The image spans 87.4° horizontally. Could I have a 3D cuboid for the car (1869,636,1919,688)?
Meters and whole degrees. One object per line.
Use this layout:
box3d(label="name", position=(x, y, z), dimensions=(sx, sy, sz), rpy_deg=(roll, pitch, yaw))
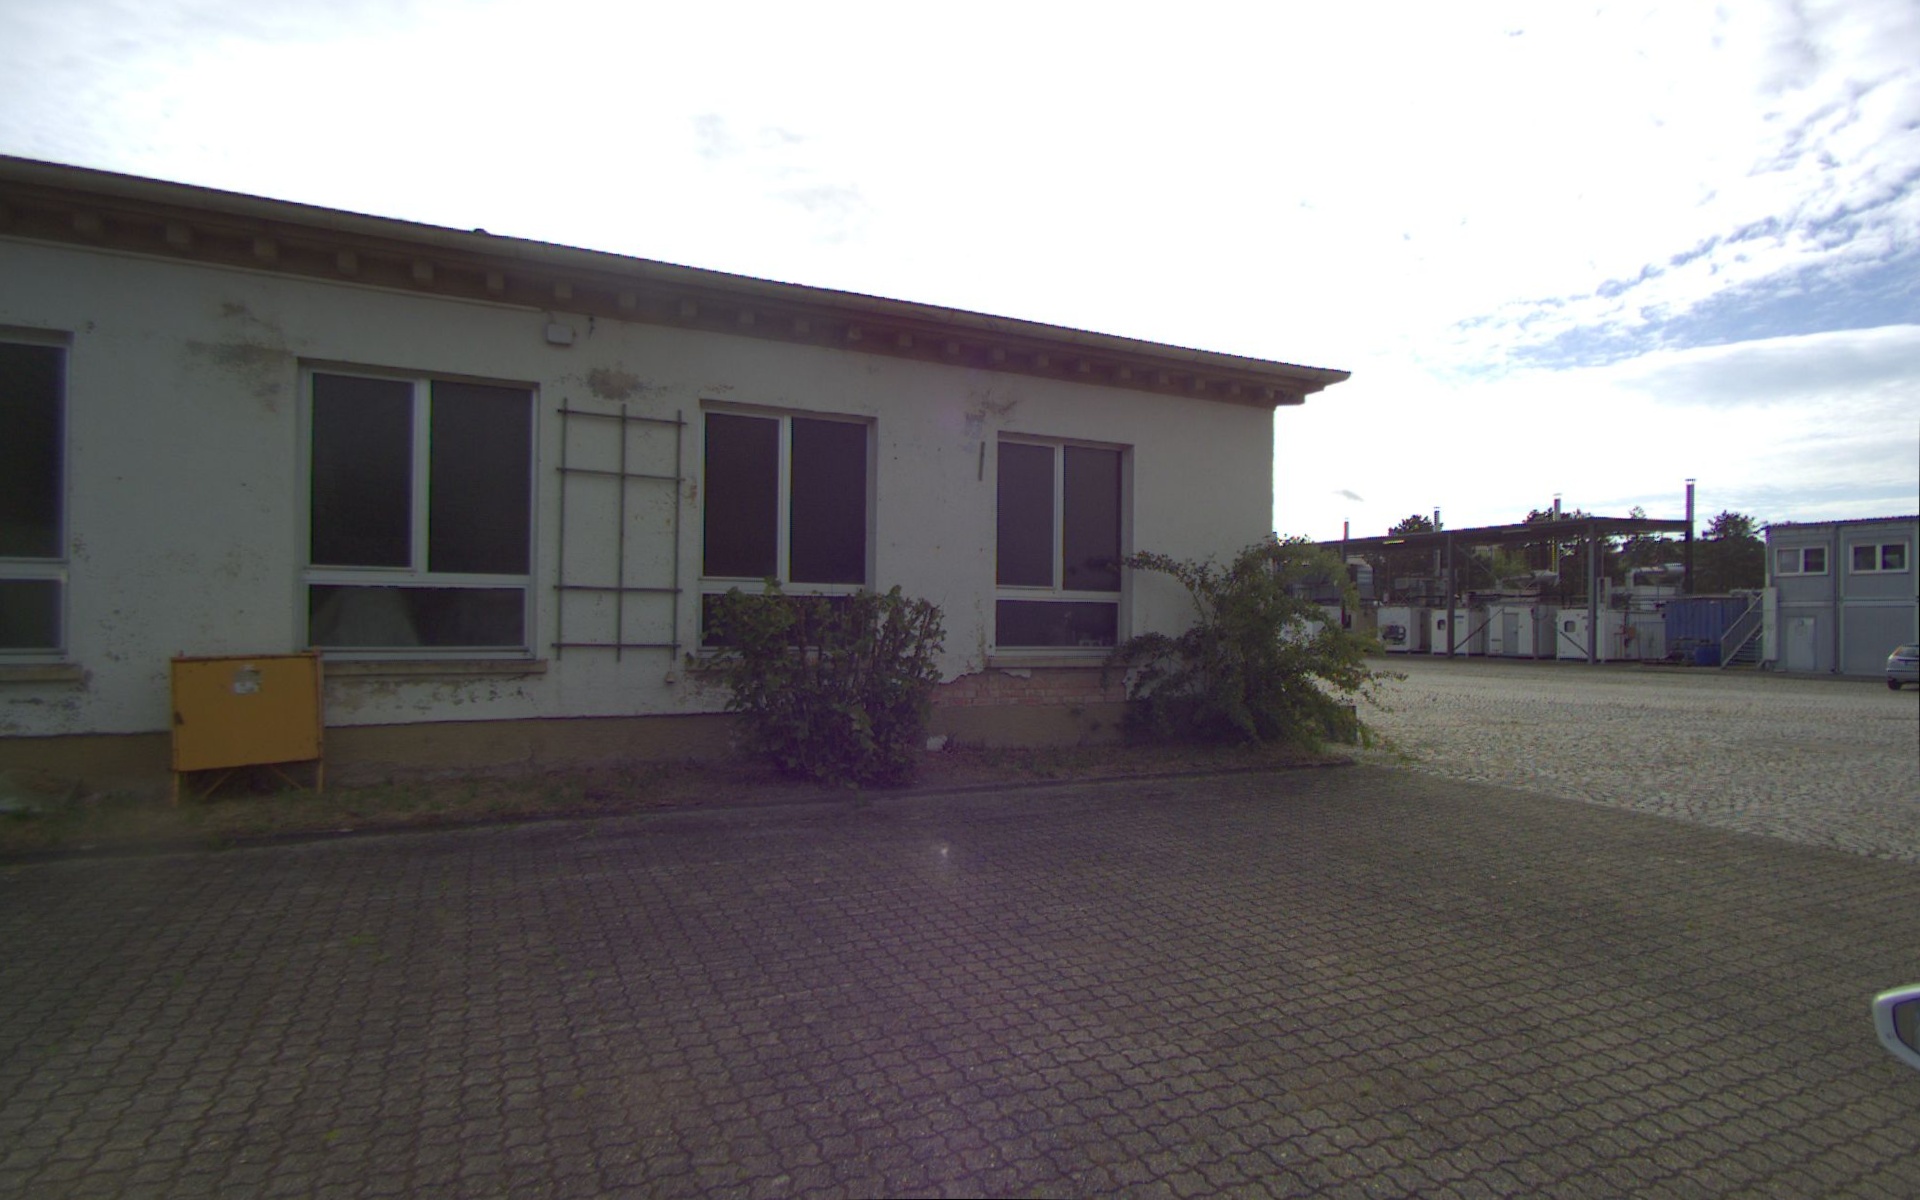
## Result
box3d(label="car", position=(30.813, 1.919, 31.695), dimensions=(3.995, 1.495, 1.899), rpy_deg=(0, -1, -28))
